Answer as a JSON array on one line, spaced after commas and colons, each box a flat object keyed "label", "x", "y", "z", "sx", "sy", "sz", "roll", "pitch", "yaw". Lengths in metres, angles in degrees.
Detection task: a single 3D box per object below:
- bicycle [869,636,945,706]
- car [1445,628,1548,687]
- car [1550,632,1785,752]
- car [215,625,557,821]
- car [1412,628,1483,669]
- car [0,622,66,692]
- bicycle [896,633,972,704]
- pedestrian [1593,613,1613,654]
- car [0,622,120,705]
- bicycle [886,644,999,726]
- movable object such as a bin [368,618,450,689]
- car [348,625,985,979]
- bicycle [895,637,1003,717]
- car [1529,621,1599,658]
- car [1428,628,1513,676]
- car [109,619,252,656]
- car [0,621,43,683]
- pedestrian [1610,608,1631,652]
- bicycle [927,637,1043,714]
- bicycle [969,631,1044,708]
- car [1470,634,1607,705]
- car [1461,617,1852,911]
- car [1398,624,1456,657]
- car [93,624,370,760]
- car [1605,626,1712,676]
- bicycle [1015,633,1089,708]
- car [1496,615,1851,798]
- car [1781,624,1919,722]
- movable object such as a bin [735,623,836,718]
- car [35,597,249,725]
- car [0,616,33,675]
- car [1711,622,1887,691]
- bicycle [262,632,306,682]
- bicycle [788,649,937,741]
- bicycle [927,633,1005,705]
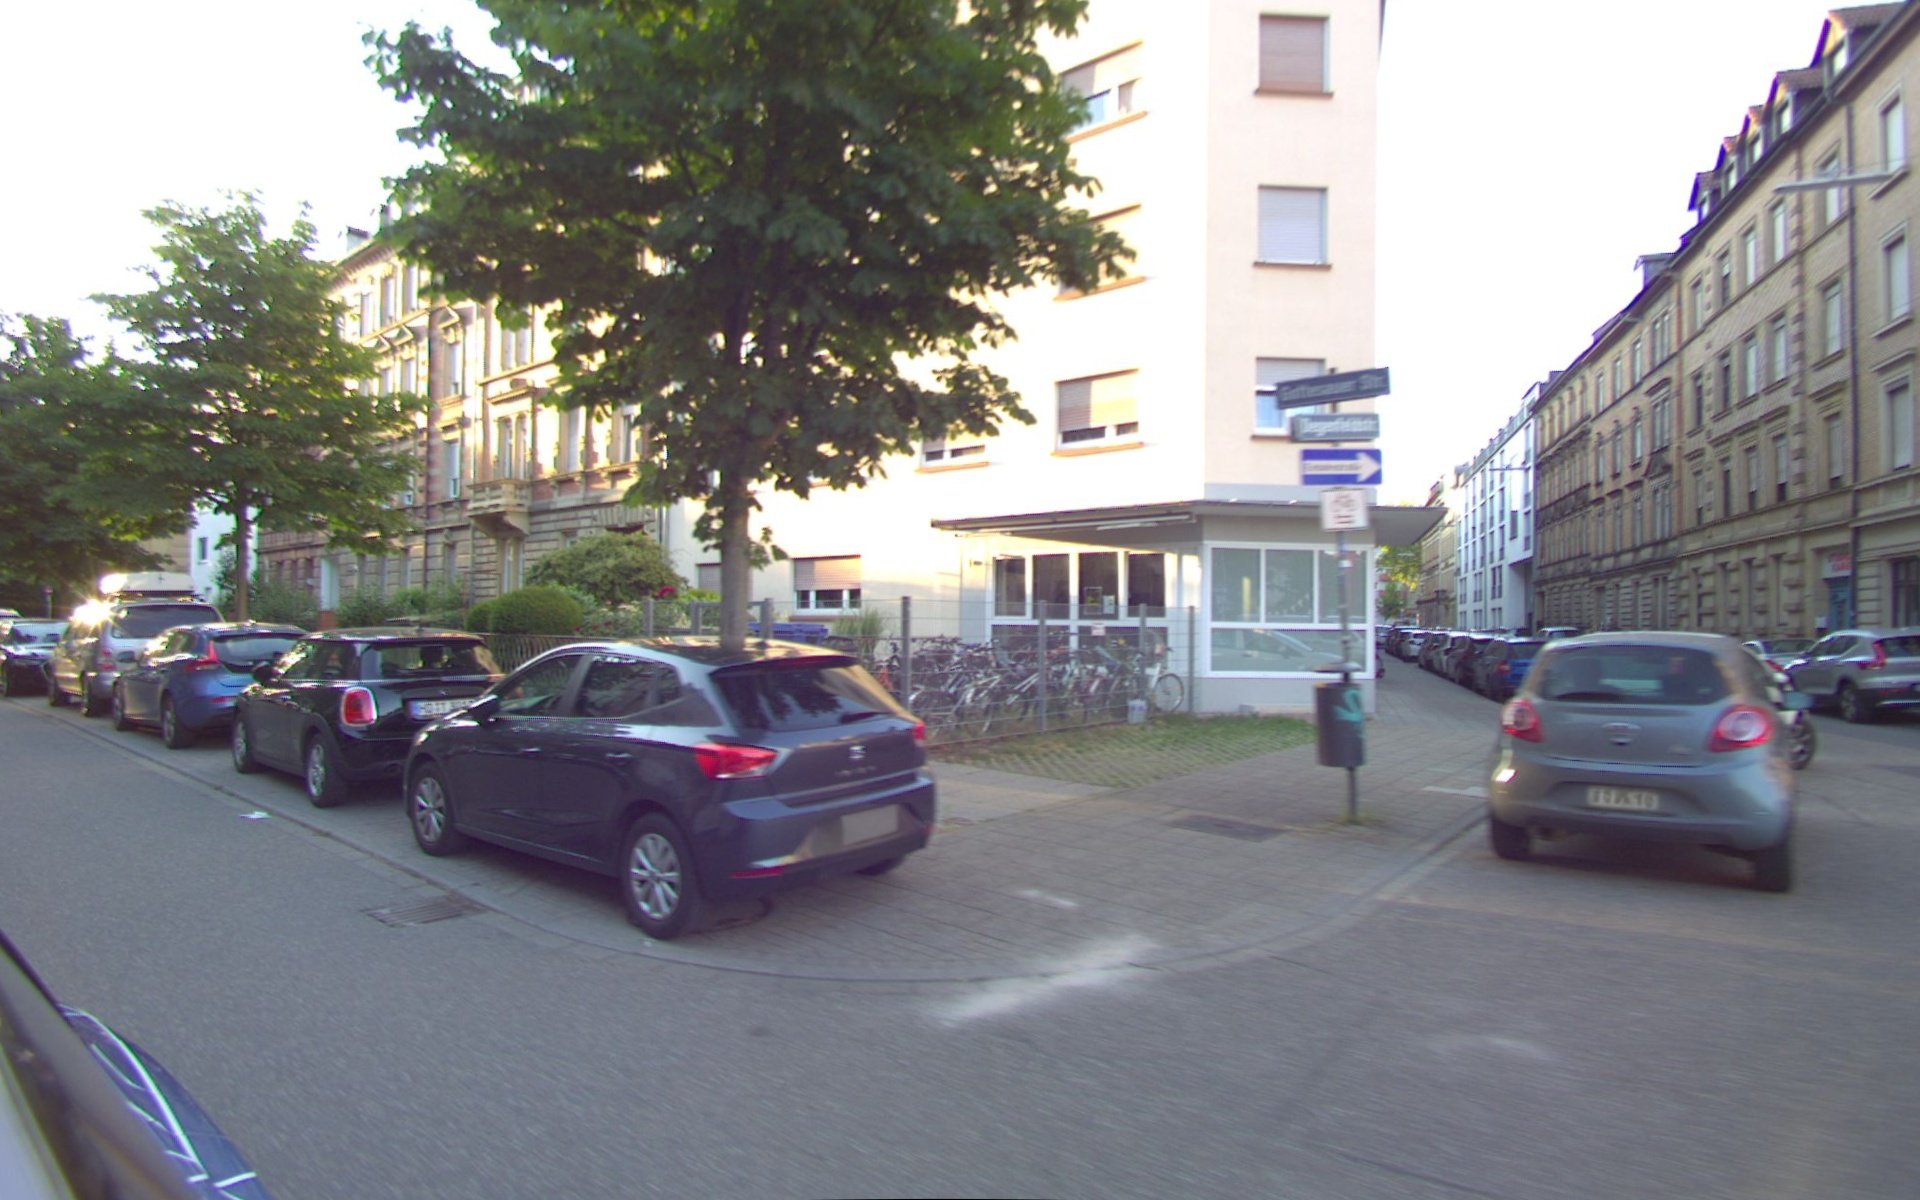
[{"label": "bicycle", "x": -0.913, "y": 1.215, "z": 17.716, "sx": 0.499, "sy": 1.100, "sz": 1.531, "roll": -1, "pitch": 0, "yaw": 34}, {"label": "car", "x": 14.420, "y": 1.493, "z": 27.401, "sx": 1.773, "sy": 1.478, "sz": 3.975, "roll": -1, "pitch": -2, "yaw": 18}, {"label": "car", "x": 9.955, "y": 1.199, "z": 14.621, "sx": 1.986, "sy": 1.450, "sz": 4.046, "roll": -1, "pitch": -2, "yaw": 24}, {"label": "car", "x": -5.643, "y": 0.984, "z": 9.718, "sx": 4.143, "sy": 1.431, "sz": 1.723, "roll": -1, "pitch": -1, "yaw": 43}, {"label": "car", "x": 17.663, "y": 1.729, "z": 36.827, "sx": 1.808, "sy": 1.419, "sz": 3.975, "roll": -1, "pitch": -2, "yaw": 18}, {"label": "car", "x": -21.838, "y": 1.268, "z": 23.256, "sx": 3.295, "sy": 1.505, "sz": 1.423, "roll": -1, "pitch": -1, "yaw": 39}, {"label": "bicycle", "x": -0.422, "y": 1.151, "z": 17.408, "sx": 0.499, "sy": 1.100, "sz": 1.531, "roll": -1, "pitch": 0, "yaw": 34}, {"label": "pedestrian", "x": 27.245, "y": 1.428, "z": 42.893, "sx": 0.590, "sy": 1.699, "sz": 0.495, "roll": -1, "pitch": 0, "yaw": 19}, {"label": "car", "x": -18.303, "y": 1.188, "z": 20.137, "sx": 4.020, "sy": 1.452, "sz": 1.711, "roll": -1, "pitch": -1, "yaw": 39}, {"label": "bicycle", "x": -0.230, "y": 1.178, "z": 14.118, "sx": 1.528, "sy": 1.100, "sz": 0.500, "roll": -1, "pitch": 0, "yaw": 4}, {"label": "movable object such as a bin", "x": -11.419, "y": 1.079, "z": 20.959, "sx": 1.549, "sy": 1.398, "sz": 0.937, "roll": -1, "pitch": 0, "yaw": 37}, {"label": "car", "x": -2.105, "y": 0.923, "z": 6.433, "sx": 4.459, "sy": 1.473, "sz": 1.658, "roll": -1, "pitch": -1, "yaw": 39}, {"label": "bicycle", "x": -0.152, "y": 1.104, "z": 14.632, "sx": 1.528, "sy": 1.100, "sz": 0.500, "roll": -1, "pitch": 0, "yaw": 3}, {"label": "car", "x": 26.740, "y": 1.725, "z": 44.939, "sx": 1.875, "sy": 1.569, "sz": 3.974, "roll": -1, "pitch": -2, "yaw": 19}, {"label": "car", "x": 16.192, "y": 1.613, "z": 32.287, "sx": 1.808, "sy": 1.419, "sz": 3.975, "roll": -1, "pitch": -2, "yaw": 18}, {"label": "car", "x": -31.379, "y": 1.482, "z": 40.836, "sx": 1.625, "sy": 1.351, "sz": 4.356, "roll": -1, "pitch": -1, "yaw": 41}, {"label": "car", "x": -25.132, "y": 1.308, "z": 26.261, "sx": 3.625, "sy": 1.510, "sz": 1.660, "roll": -1, "pitch": -1, "yaw": 43}, {"label": "pedestrian", "x": 27.866, "y": 1.273, "z": 42.701, "sx": 0.590, "sy": 1.820, "sz": 0.495, "roll": -1, "pitch": 0, "yaw": 19}, {"label": "bicycle", "x": 0.373, "y": 1.114, "z": 15.047, "sx": 1.689, "sy": 1.100, "sz": 0.384, "roll": -1, "pitch": 0, "yaw": 5}, {"label": "bicycle", "x": 0.784, "y": 1.109, "z": 16.594, "sx": 0.499, "sy": 1.150, "sz": 1.531, "roll": -1, "pitch": 0, "yaw": 34}, {"label": "car", "x": 12.794, "y": 1.483, "z": 22.646, "sx": 1.860, "sy": 1.419, "sz": 3.975, "roll": -1, "pitch": -2, "yaw": 18}, {"label": "car", "x": 5.037, "y": 0.898, "z": 7.224, "sx": 1.843, "sy": 1.519, "sz": 3.471, "roll": -2, "pitch": -2, "yaw": 40}, {"label": "car", "x": 21.095, "y": 1.809, "z": 45.814, "sx": 1.914, "sy": 1.419, "sz": 3.975, "roll": -1, "pitch": -2, "yaw": 18}, {"label": "car", "x": -9.532, "y": 1.041, "z": 13.098, "sx": 4.587, "sy": 1.423, "sz": 1.843, "roll": -1, "pitch": -1, "yaw": 40}, {"label": "car", "x": 21.921, "y": 1.574, "z": 31.912, "sx": 1.774, "sy": 1.470, "sz": 3.973, "roll": -1, "pitch": -2, "yaw": 20}, {"label": "bicycle", "x": 1.491, "y": 1.100, "z": 16.198, "sx": 0.499, "sy": 1.100, "sz": 1.531, "roll": -1, "pitch": 0, "yaw": 34}, {"label": "car", "x": 7.717, "y": 0.959, "z": 10.847, "sx": 4.006, "sy": 1.520, "sz": 1.978, "roll": -1, "pitch": 0, "yaw": -37}, {"label": "car", "x": 16.882, "y": 1.260, "z": 18.550, "sx": 1.572, "sy": 1.635, "sz": 3.973, "roll": -1, "pitch": -2, "yaw": 20}, {"label": "movable object such as a bin", "x": -2.698, "y": 1.052, "z": 15.599, "sx": 1.398, "sy": 1.362, "sz": 0.857, "roll": -1, "pitch": 0, "yaw": 42}, {"label": "car", "x": -13.319, "y": 0.884, "z": 16.374, "sx": 4.619, "sy": 1.792, "sz": 1.843, "roll": -1, "pitch": -1, "yaw": 40}, {"label": "car", "x": -28.782, "y": 1.312, "z": 29.748, "sx": 4.020, "sy": 1.675, "sz": 1.842, "roll": -1, "pitch": -1, "yaw": 42}, {"label": "car", "x": 19.052, "y": 1.245, "z": 23.220, "sx": 1.830, "sy": 1.438, "sz": 3.973, "roll": -1, "pitch": -2, "yaw": 20}, {"label": "bicycle", "x": -16.125, "y": 1.346, "z": 24.124, "sx": 1.633, "sy": 1.118, "sz": 0.451, "roll": -1, "pitch": 0, "yaw": 41}, {"label": "bicycle", "x": -1.268, "y": 1.183, "z": 12.960, "sx": 1.927, "sy": 1.033, "sz": 0.681, "roll": -1, "pitch": 0, "yaw": 35}, {"label": "bicycle", "x": 0.125, "y": 1.143, "z": 17.092, "sx": 0.499, "sy": 1.100, "sz": 1.617, "roll": -1, "pitch": 0, "yaw": 34}]
